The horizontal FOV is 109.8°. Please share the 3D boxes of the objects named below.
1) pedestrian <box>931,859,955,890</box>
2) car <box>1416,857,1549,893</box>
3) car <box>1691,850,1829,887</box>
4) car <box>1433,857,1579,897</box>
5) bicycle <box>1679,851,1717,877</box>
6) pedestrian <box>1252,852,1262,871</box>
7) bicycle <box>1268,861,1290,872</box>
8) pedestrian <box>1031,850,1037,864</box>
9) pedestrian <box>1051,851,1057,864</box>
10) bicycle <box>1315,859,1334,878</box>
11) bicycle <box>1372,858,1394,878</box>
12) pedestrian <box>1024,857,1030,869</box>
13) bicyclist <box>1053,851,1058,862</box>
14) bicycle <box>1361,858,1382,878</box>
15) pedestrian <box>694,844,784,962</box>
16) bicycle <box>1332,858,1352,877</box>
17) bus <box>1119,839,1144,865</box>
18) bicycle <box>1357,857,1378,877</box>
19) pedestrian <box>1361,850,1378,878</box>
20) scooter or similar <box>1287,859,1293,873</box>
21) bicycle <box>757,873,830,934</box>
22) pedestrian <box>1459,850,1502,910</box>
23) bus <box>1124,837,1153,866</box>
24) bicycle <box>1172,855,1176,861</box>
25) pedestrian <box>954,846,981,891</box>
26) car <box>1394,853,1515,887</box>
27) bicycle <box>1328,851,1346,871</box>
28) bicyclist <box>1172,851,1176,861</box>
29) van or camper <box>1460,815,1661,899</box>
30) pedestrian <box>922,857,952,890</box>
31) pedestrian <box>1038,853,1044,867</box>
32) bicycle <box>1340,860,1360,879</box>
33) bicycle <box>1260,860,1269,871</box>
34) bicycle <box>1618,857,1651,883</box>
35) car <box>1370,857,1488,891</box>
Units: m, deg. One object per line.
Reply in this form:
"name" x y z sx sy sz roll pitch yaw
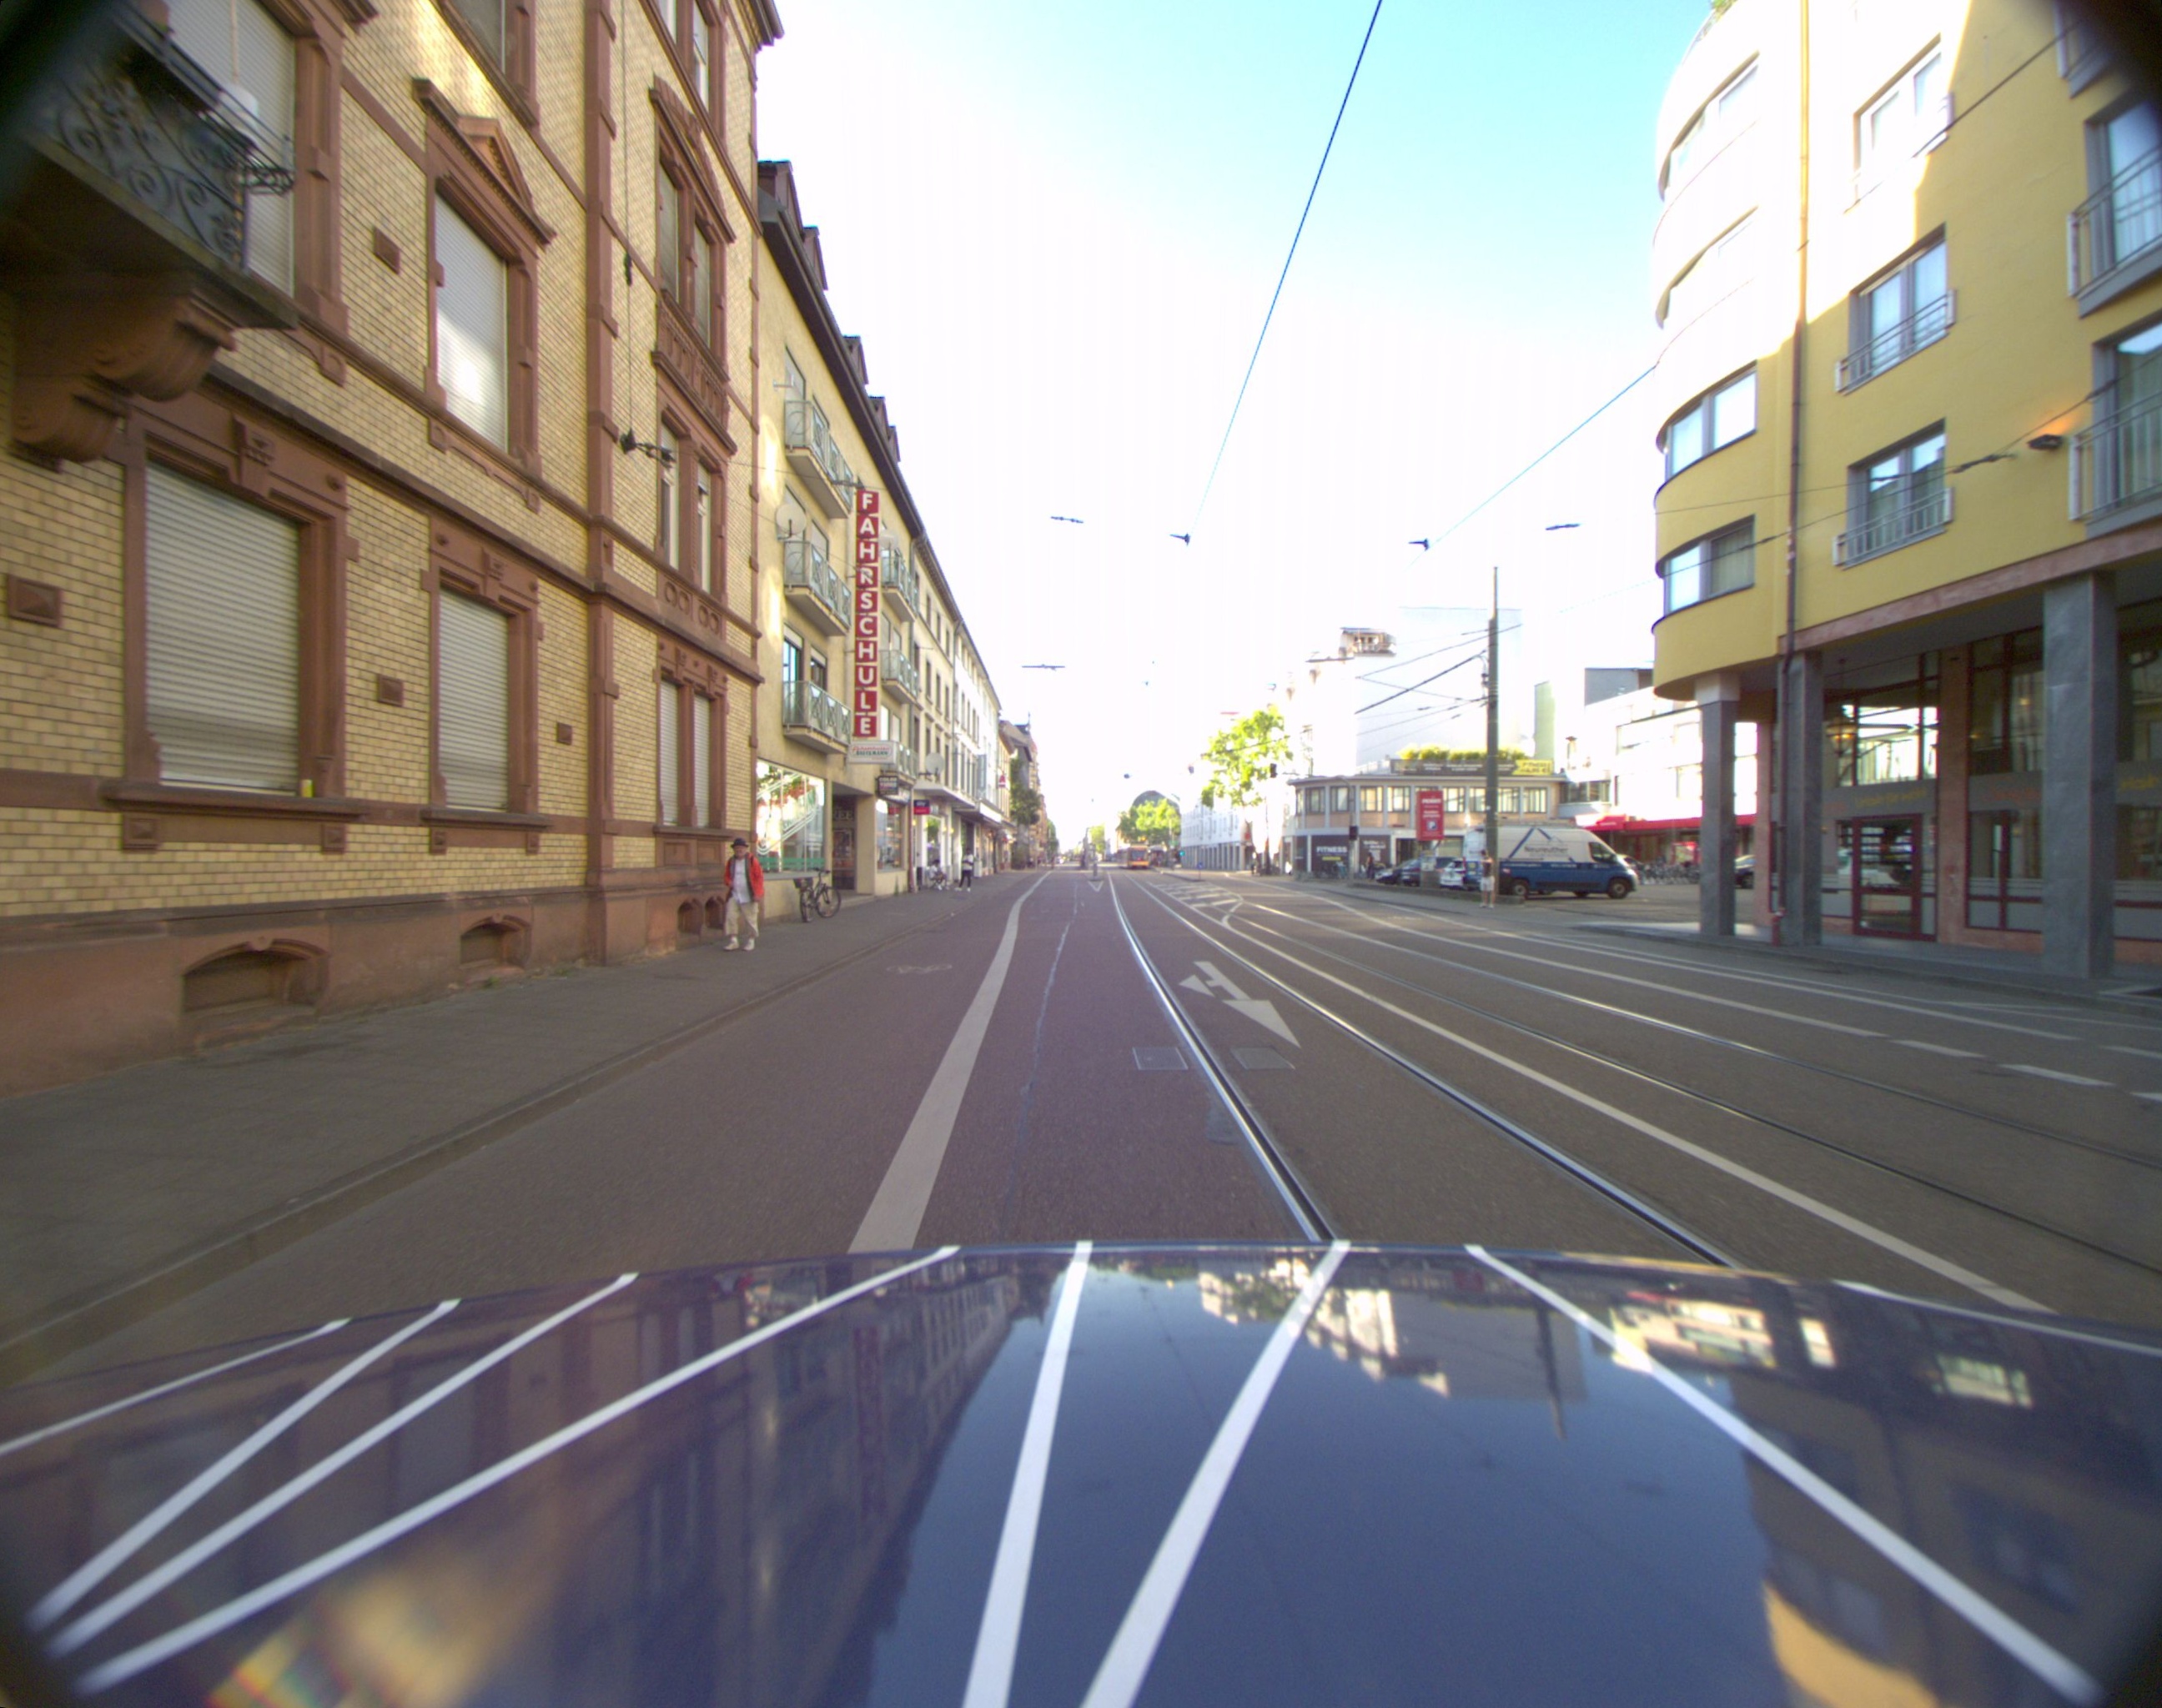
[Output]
"pedestrian" -5.763 0.831 31.599 0.708 1.168 1.014 6 0 -20
"car" 16.821 0.863 32.002 4.600 1.466 1.879 0 0 0
"car" 27.982 0.576 31.417 3.998 1.499 1.999 0 0 -3
"car" 16.392 0.860 29.468 4.600 1.466 1.879 0 0 0
"bicycle" 28.605 0.444 35.238 0.432 1.180 1.832 0 1 6
"pedestrian" 15.466 0.659 66.712 0.630 1.706 0.826 1 1 27
"bicycle" 17.094 1.088 65.627 1.849 0.906 0.390 -1 -2 5
"pedestrian" -6.000 0.349 96.400 0.650 1.760 0.697 0 1 4
"pedestrian" -3.529 0.496 100.478 0.694 1.760 0.697 0 1 4
"bicycle" 15.138 0.878 47.291 0.447 1.180 1.830 0 0 -7
"bicycle" 18.270 0.817 46.002 0.449 1.180 1.831 0 0 -3
"pedestrian" -6.650 1.108 93.578 0.651 1.569 0.682 0 1 -7
"bicyclist" -3.622 0.362 109.028 0.677 1.604 0.837 0 1 -2
"bicycle" 17.537 0.807 45.878 0.449 1.180 1.831 0 0 -3
"pedestrian" -5.034 0.704 11.240 0.800 1.618 0.826 5 -1 0
"bicycle" 16.052 0.820 46.783 0.449 1.180 1.831 0 0 -3
"bus" 7.422 -0.319 112.958 2.818 3.546 13.678 0 0 0
"bicycle" 17.126 0.777 45.384 0.449 1.180 1.831 0 0 -3
"pedestrian" 17.141 0.593 45.171 0.682 1.687 0.683 0 0 -3
"scooter or similar" 17.587 1.004 63.964 0.335 1.105 1.182 0 1 23
"bicycle" -5.739 0.960 15.328 0.556 1.055 2.311 3 0 0
"pedestrian" 12.488 0.799 23.752 0.835 1.821 0.909 0 0 -1
"bus" 7.344 -0.284 99.565 2.818 3.546 13.678 0 0 0
"bicycle" 15.844 0.747 129.498 0.518 0.983 1.726 -1 1 0
"pedestrian" -4.787 0.602 32.026 0.705 1.801 0.680 6 0 15
"car" 16.915 0.726 34.549 4.600 1.466 1.879 0 0 0
"bicycle" 15.656 0.427 46.520 0.441 1.180 1.831 0 0 -1
"bicyclist" 15.833 0.390 129.482 0.515 1.690 0.807 -1 1 0
"van or camper" 16.765 0.115 26.822 5.620 2.810 2.315 0 0 0
"pedestrian" -5.776 0.786 30.524 0.833 1.248 0.705 6 0 -36
"pedestrian" -5.302 0.796 100.651 0.807 1.789 0.761 0 1 0
"bicycle" 16.516 0.941 46.696 0.444 1.180 1.831 0 0 -3
"bicycle" 15.892 1.007 65.822 0.389 0.907 1.851 -1 0 0
"bicycle" 26.525 0.759 36.450 0.432 1.180 1.832 0 0 6
"car" 16.936 0.972 37.134 4.907 1.574 1.879 0 0 0
